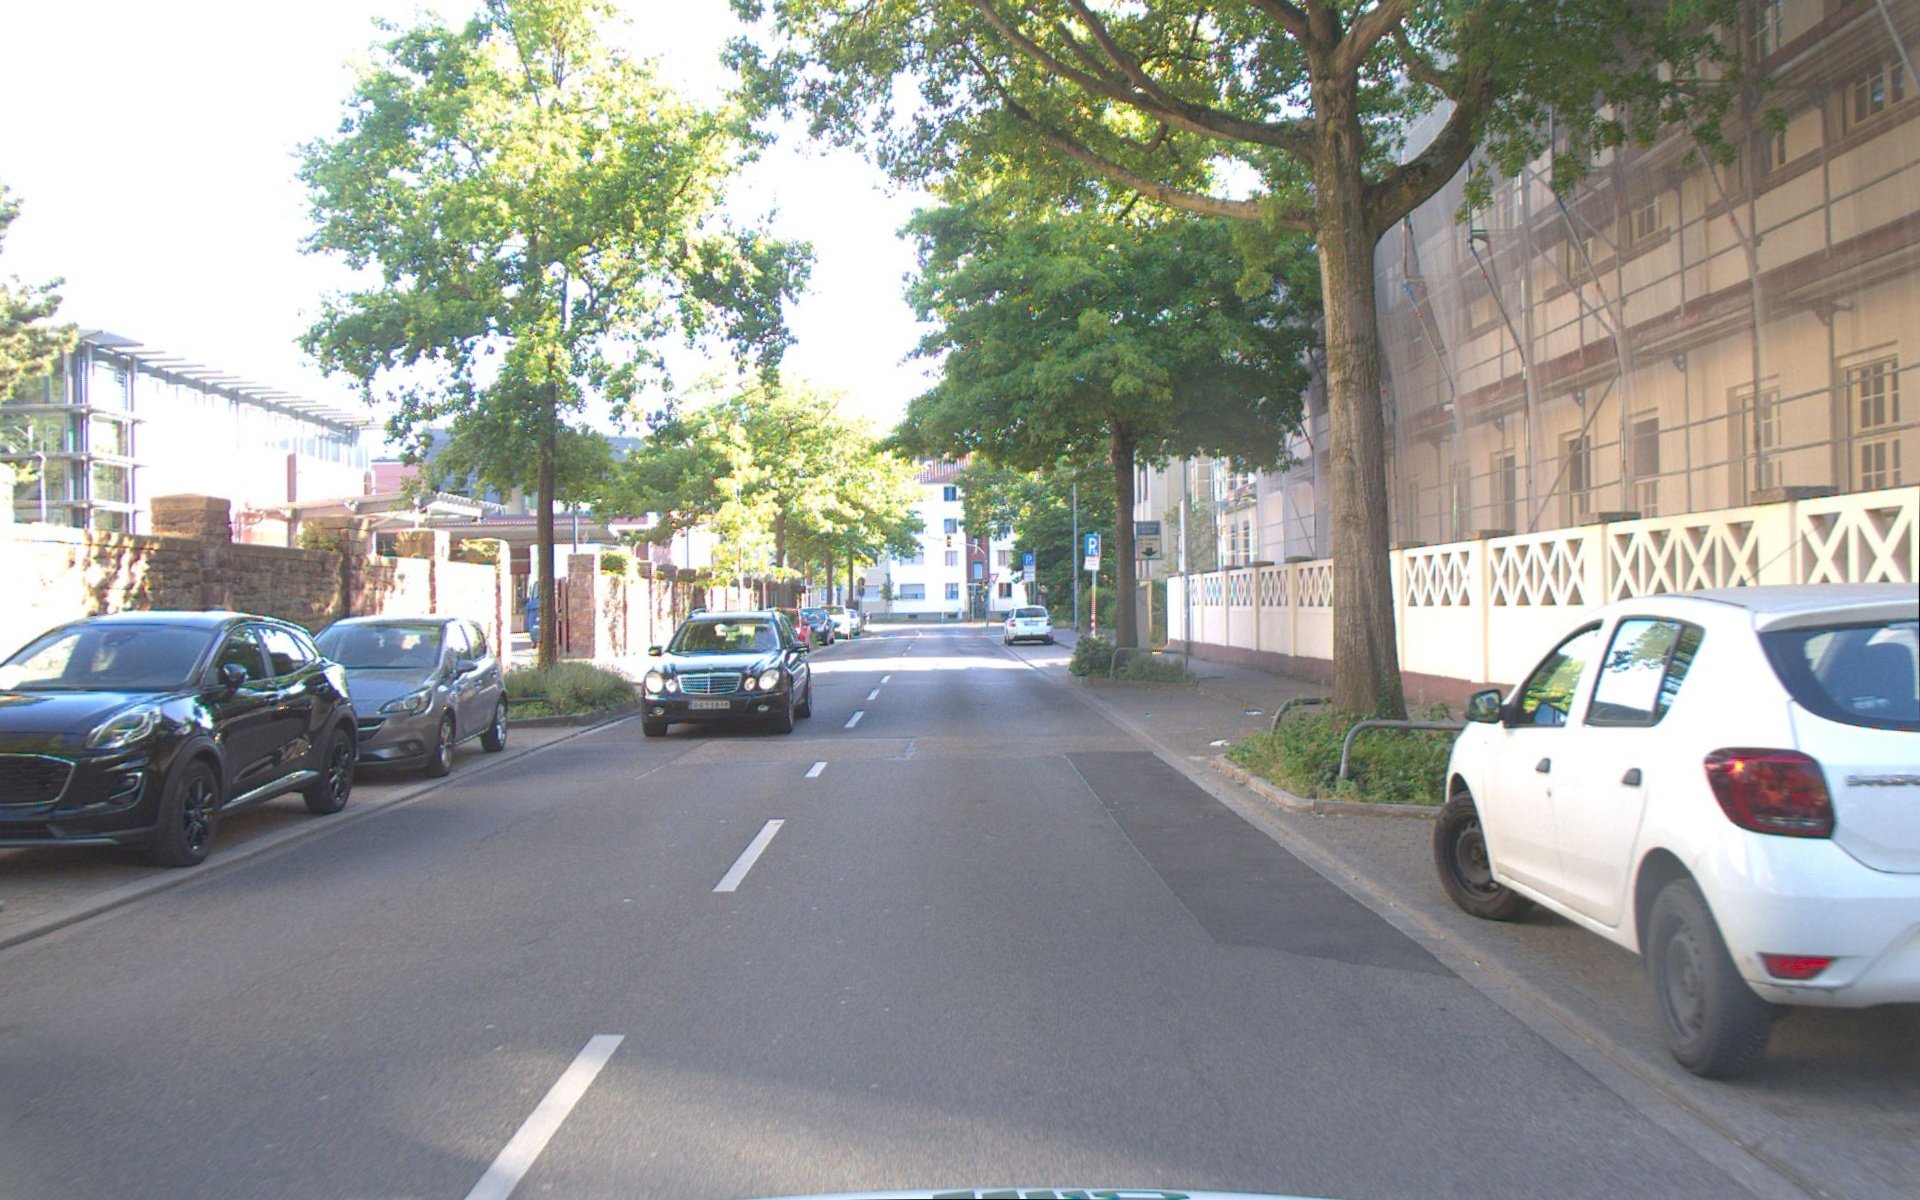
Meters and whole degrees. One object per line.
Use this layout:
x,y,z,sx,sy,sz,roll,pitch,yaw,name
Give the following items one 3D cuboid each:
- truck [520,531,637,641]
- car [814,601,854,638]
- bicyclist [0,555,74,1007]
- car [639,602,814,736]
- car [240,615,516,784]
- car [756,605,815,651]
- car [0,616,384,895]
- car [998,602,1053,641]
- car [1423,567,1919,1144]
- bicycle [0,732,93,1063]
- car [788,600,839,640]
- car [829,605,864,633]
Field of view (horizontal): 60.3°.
-13.920,-0.479,60.939,2.677,3.776,7.426,1,0,-1,truck
-6.014,0.908,79.379,1.685,1.713,4.349,-1,0,-2,car
-3.637,0.616,5.583,0.706,1.549,1.005,1,0,2,bicyclist
-2.852,0.793,20.982,1.785,1.461,3.967,-2,0,-2,car
-5.630,0.893,16.473,1.654,1.446,3.835,1,0,-5,car
-5.791,0.905,55.295,1.576,1.484,3.708,1,0,0,car
-5.404,0.901,11.386,1.542,1.541,4.043,0,0,-2,car
2.463,0.795,62.902,1.795,1.346,4.495,-2,0,-1,car
3.176,0.671,6.495,1.688,1.536,3.993,-2,0,2,car
-3.634,1.096,5.632,0.350,1.140,1.866,1,0,0,bicycle
-6.075,0.814,68.907,1.701,1.620,4.107,-1,0,1,car
-6.235,1.039,91.357,1.691,1.501,4.477,1,0,-1,car
